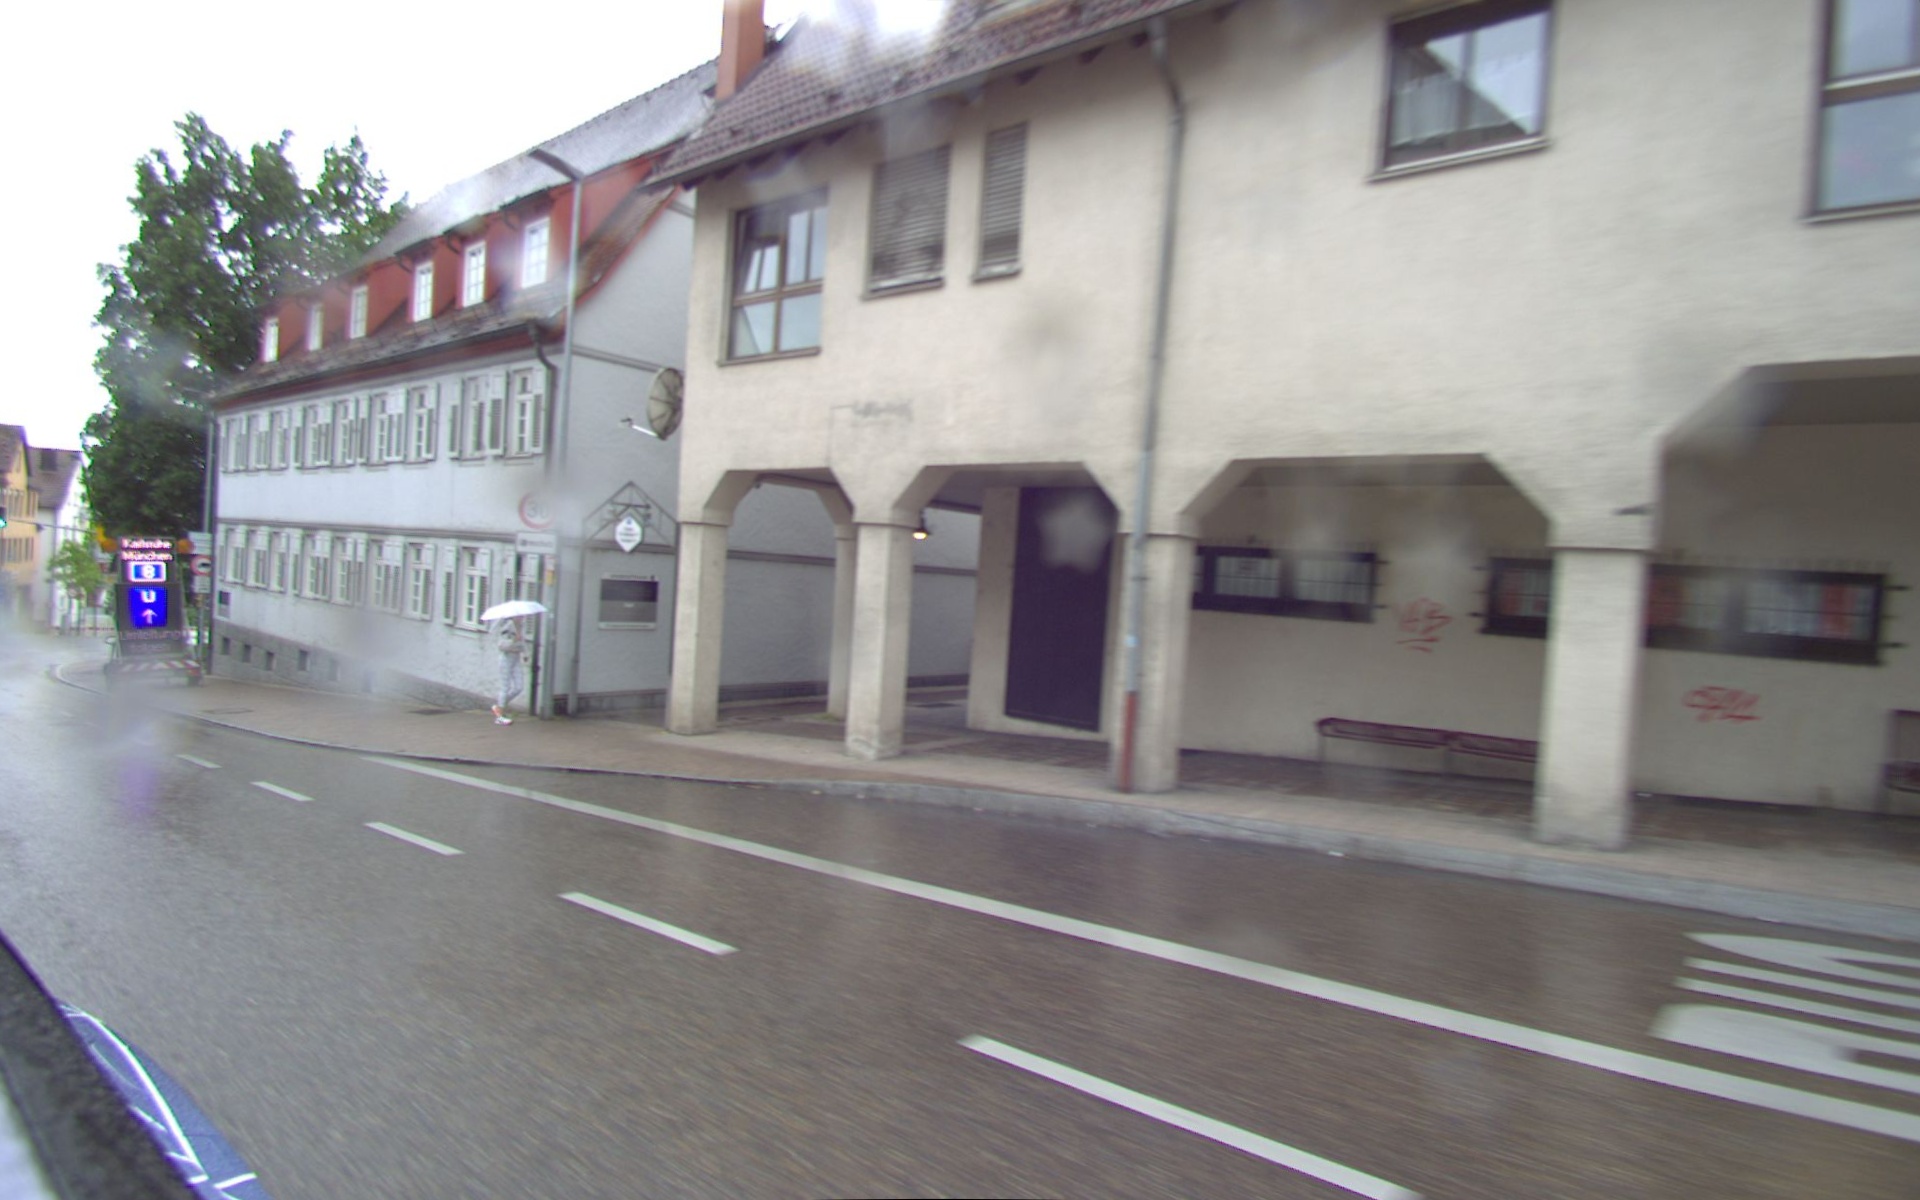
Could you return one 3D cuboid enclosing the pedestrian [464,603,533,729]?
[{"bbox_3d":[-6.713,0.935,14.721,0.735,1.753,0.680,-1,-1,43],"label":"pedestrian"}]

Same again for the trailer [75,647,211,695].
[{"bbox_3d":[-19.824,1.666,24.492,4.477,0.912,1.972,-1,-1,43],"label":"trailer"}]
